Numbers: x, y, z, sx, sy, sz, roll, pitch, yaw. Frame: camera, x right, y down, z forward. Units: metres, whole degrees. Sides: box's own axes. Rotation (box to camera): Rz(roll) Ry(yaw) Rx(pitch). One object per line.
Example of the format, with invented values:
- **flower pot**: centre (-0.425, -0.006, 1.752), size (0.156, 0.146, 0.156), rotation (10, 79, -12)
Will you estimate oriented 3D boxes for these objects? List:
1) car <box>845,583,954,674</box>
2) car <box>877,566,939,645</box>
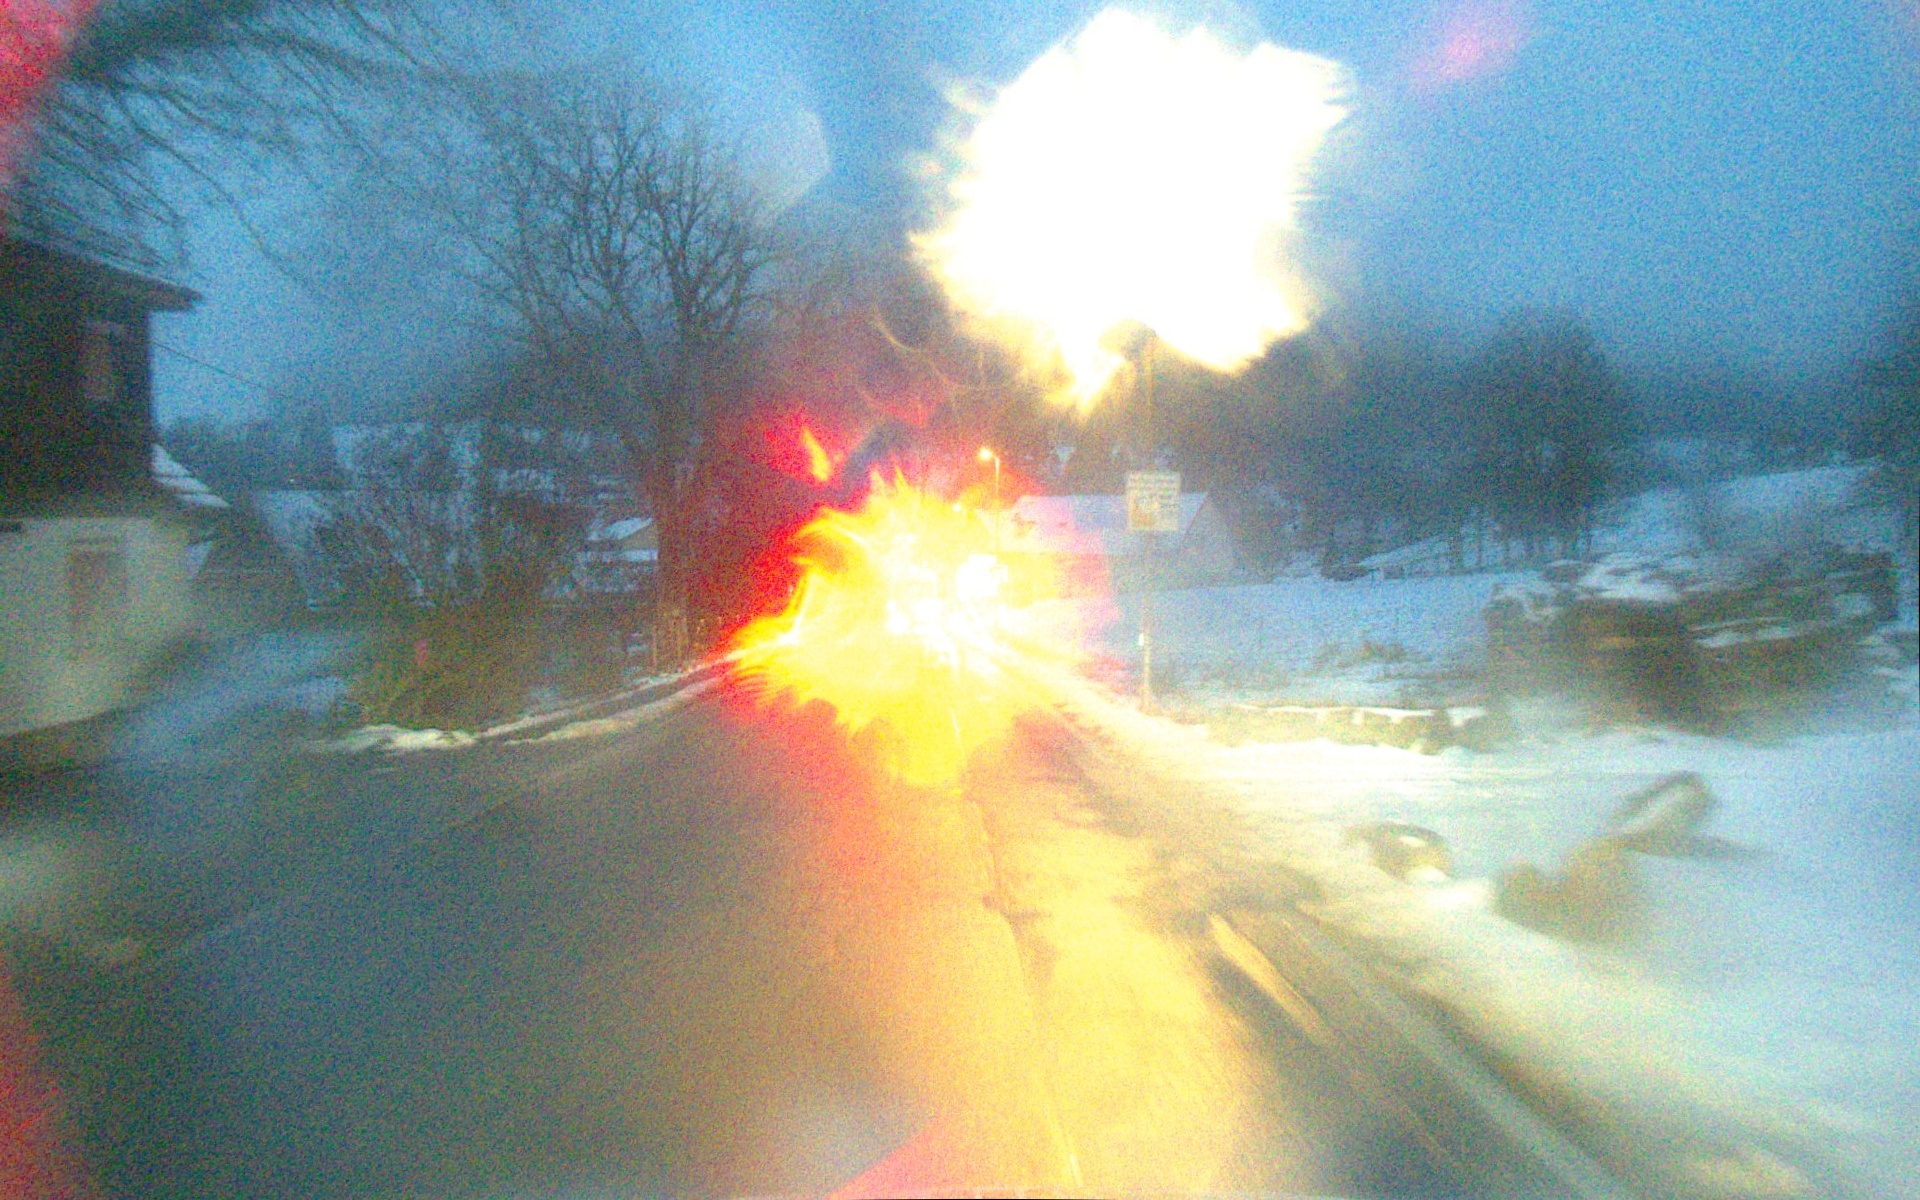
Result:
- **car**: centre (-1.315, 0.601, 36.468), size (2.228, 1.873, 5.005), rotation (0, 0, -2)
- **car**: centre (-2.105, 0.278, 67.995), size (2.386, 3.072, 5.323), rotation (-1, -2, -1)
